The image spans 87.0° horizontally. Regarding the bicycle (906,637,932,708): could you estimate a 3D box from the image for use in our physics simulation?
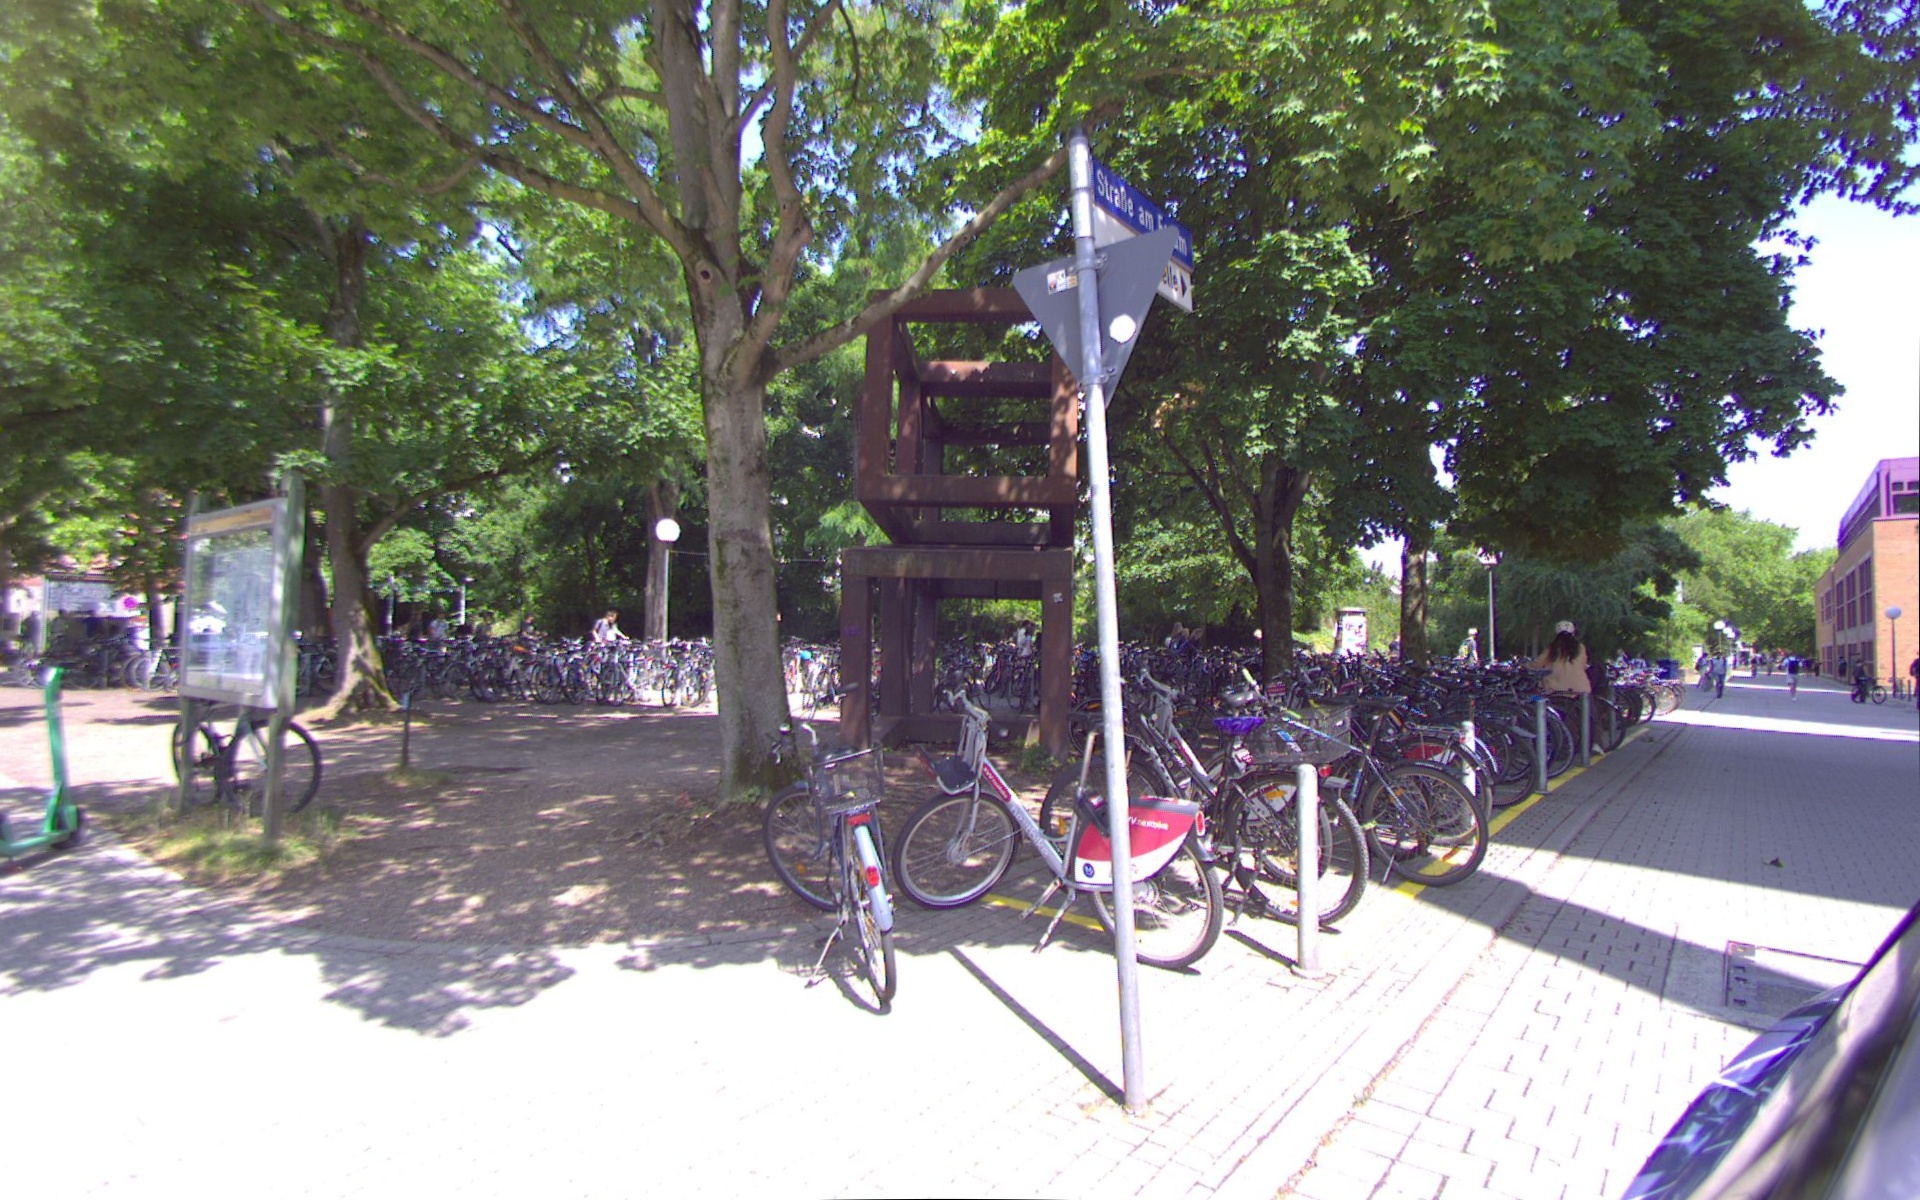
[{"bbox_3d":[-0.718,1.260,18.061,0.381,1.185,1.844,1,-2,0],"label":"bicycle"}]

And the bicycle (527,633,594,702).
[{"bbox_3d":[-7.319,1.209,18.614,0.339,1.185,1.842,1,-2,5],"label":"bicycle"}]

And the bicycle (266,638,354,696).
[{"bbox_3d":[-12.605,1.274,19.681,0.375,1.041,1.789,1,-2,6],"label":"bicycle"}]

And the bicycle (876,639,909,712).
[{"bbox_3d":[-1.172,1.295,17.827,0.381,1.185,1.843,1,-2,2],"label":"bicycle"}]

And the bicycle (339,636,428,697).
[{"bbox_3d":[-10.922,1.233,19.242,0.419,1.084,1.788,0,-2,8],"label":"bicycle"}]

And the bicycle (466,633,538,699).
[{"bbox_3d":[-8.680,1.227,19.254,0.395,1.185,1.790,1,-2,5],"label":"bicycle"}]

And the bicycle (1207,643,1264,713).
[{"bbox_3d":[5.027,1.392,18.555,0.339,1.185,1.847,1,-2,-6],"label":"bicycle"}]

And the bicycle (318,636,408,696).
[{"bbox_3d":[-11.349,1.235,19.314,0.419,1.084,1.788,0,-2,8],"label":"bicycle"}]

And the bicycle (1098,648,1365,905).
[{"bbox_3d":[1.455,0.893,5.683,0.482,1.156,1.527,1,0,-31],"label":"bicycle"}]

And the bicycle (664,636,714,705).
[{"bbox_3d":[-4.939,1.252,18.518,0.339,1.185,1.843,1,-2,2],"label":"bicycle"}]

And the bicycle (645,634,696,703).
[{"bbox_3d":[-5.279,1.217,18.537,0.339,1.185,1.844,1,-2,1],"label":"bicycle"}]

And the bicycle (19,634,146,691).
[{"bbox_3d":[-17.936,1.257,20.745,0.401,1.096,1.931,0,-2,27],"label":"bicycle"}]

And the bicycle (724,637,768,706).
[{"bbox_3d":[-3.894,1.281,18.519,0.346,1.185,1.843,1,-2,2],"label":"bicycle"}]

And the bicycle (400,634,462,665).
[{"bbox_3d":[-17.794,1.643,34.098,0.605,0.991,1.947,-1,-2,19],"label":"bicycle"}]

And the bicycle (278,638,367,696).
[{"bbox_3d":[-12.267,1.266,19.536,0.375,1.041,1.789,1,-2,7],"label":"bicycle"}]

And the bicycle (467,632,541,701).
[{"bbox_3d":[-8.334,1.187,18.562,0.395,1.185,1.790,1,-2,5],"label":"bicycle"}]

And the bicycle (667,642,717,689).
[{"bbox_3d":[-5.988,1.446,22.701,0.372,0.991,1.898,0,-1,8],"label":"bicycle"}]

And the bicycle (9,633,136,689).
[{"bbox_3d":[-18.318,1.234,20.936,0.401,1.096,1.931,0,-2,27],"label":"bicycle"}]

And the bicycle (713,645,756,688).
[{"bbox_3d":[-5.540,1.614,24.948,0.372,0.991,1.898,0,-1,8],"label":"bicycle"}]

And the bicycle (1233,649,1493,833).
[{"bbox_3d":[2.854,0.946,7.300,1.691,1.099,0.474,1,0,45],"label":"bicycle"}]

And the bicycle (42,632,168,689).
[{"bbox_3d":[-17.274,1.205,20.506,0.401,1.096,1.931,0,-2,27],"label":"bicycle"}]

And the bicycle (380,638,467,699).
[{"bbox_3d":[-10.133,1.269,19.197,0.420,1.084,1.787,0,-2,10],"label":"bicycle"}]

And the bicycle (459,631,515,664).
[{"bbox_3d":[-15.771,1.577,33.776,0.472,1.053,1.947,-1,-2,19],"label":"bicycle"}]

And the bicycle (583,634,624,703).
[{"bbox_3d":[-6.476,1.219,18.422,0.338,1.185,1.847,1,-2,-9],"label":"bicycle"}]

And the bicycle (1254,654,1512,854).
[{"bbox_3d":[2.772,0.953,6.738,1.511,1.099,0.474,1,0,45],"label":"bicycle"}]

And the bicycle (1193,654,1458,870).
[{"bbox_3d":[2.212,0.925,6.228,1.467,1.099,0.454,1,0,41],"label":"bicycle"}]

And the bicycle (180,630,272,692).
[{"bbox_3d":[-14.624,1.191,20.206,0.485,1.170,1.737,1,-2,2],"label":"bicycle"}]

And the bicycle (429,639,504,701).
[{"bbox_3d":[-9.163,1.273,18.875,0.419,1.084,1.791,1,-2,3],"label":"bicycle"}]

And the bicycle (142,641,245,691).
[{"bbox_3d":[-15.146,1.288,20.052,0.486,0.921,1.733,0,-2,9],"label":"bicycle"}]

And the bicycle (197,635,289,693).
[{"bbox_3d":[-13.961,1.229,19.767,0.485,1.066,1.737,1,-2,2],"label":"bicycle"}]

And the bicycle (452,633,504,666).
[{"bbox_3d":[-15.663,1.596,32.913,0.429,1.053,1.774,-1,-2,17],"label":"bicycle"}]

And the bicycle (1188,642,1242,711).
[{"bbox_3d":[4.672,1.379,18.659,0.339,1.185,1.847,1,-2,-6],"label":"bicycle"}]

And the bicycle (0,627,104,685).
[{"bbox_3d":[-19.602,1.170,21.531,0.645,1.182,2.001,0,-2,27],"label":"bicycle"}]

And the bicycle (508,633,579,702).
[{"bbox_3d":[-7.676,1.217,18.749,0.395,1.185,1.842,1,-2,5],"label":"bicycle"}]

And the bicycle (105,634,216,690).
[{"bbox_3d":[-16.168,1.234,20.526,0.321,1.073,1.903,0,-2,15],"label":"bicycle"}]

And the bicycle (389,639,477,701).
[{"bbox_3d":[-9.783,1.271,18.841,0.420,1.084,1.787,0,-2,10],"label":"bicycle"}]

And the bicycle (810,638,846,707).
[{"bbox_3d":[-2.396,1.289,18.503,0.346,1.185,1.843,1,-2,2],"label":"bicycle"}]

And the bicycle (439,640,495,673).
[{"bbox_3d":[-16.488,1.880,33.891,0.429,1.053,1.947,-1,-2,19],"label":"bicycle"}]

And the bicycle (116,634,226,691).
[{"bbox_3d":[-15.878,1.232,20.428,0.321,1.073,1.903,0,-2,15],"label":"bicycle"}]

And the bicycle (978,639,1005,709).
[{"bbox_3d":[0.552,1.310,18.370,0.406,1.185,1.844,1,-2,0],"label":"bicycle"}]

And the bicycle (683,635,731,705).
[{"bbox_3d":[-4.607,1.250,18.500,0.339,1.185,1.843,1,-2,2],"label":"bicycle"}]

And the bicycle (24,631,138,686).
[{"bbox_3d":[-18.486,1.211,21.335,0.434,1.096,1.756,0,-2,27],"label":"bicycle"}]

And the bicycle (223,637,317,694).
[{"bbox_3d":[-13.485,1.252,19.834,0.433,1.041,1.793,1,-2,6],"label":"bicycle"}]

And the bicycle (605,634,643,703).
[{"bbox_3d":[-6.111,1.216,18.462,0.338,1.185,1.847,1,-2,-9],"label":"bicycle"}]

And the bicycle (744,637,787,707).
[{"bbox_3d":[-3.528,1.279,18.461,0.346,1.185,1.843,1,-2,2],"label":"bicycle"}]

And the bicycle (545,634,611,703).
[{"bbox_3d":[-6.975,1.221,18.562,0.339,1.185,1.842,1,-2,5],"label":"bicycle"}]

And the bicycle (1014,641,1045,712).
[{"bbox_3d":[1.237,1.338,18.154,0.406,1.185,1.844,1,-2,0],"label":"bicycle"}]

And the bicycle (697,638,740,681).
[{"bbox_3d":[-5.947,1.461,25.006,0.372,0.991,1.898,0,-1,8],"label":"bicycle"}]

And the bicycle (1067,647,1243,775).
[{"bbox_3d":[1.927,1.065,10.218,0.456,1.091,1.823,1,0,-43],"label":"bicycle"}]

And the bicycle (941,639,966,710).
[{"bbox_3d":[-0.115,1.311,18.169,0.406,1.185,1.844,1,-2,0],"label":"bicycle"}]

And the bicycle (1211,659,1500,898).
[{"bbox_3d":[2.173,0.924,5.653,1.432,1.099,0.454,1,0,37],"label":"bicycle"}]

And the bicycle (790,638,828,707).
[{"bbox_3d":[-2.748,1.292,18.506,0.346,1.185,1.843,1,-2,2],"label":"bicycle"}]
